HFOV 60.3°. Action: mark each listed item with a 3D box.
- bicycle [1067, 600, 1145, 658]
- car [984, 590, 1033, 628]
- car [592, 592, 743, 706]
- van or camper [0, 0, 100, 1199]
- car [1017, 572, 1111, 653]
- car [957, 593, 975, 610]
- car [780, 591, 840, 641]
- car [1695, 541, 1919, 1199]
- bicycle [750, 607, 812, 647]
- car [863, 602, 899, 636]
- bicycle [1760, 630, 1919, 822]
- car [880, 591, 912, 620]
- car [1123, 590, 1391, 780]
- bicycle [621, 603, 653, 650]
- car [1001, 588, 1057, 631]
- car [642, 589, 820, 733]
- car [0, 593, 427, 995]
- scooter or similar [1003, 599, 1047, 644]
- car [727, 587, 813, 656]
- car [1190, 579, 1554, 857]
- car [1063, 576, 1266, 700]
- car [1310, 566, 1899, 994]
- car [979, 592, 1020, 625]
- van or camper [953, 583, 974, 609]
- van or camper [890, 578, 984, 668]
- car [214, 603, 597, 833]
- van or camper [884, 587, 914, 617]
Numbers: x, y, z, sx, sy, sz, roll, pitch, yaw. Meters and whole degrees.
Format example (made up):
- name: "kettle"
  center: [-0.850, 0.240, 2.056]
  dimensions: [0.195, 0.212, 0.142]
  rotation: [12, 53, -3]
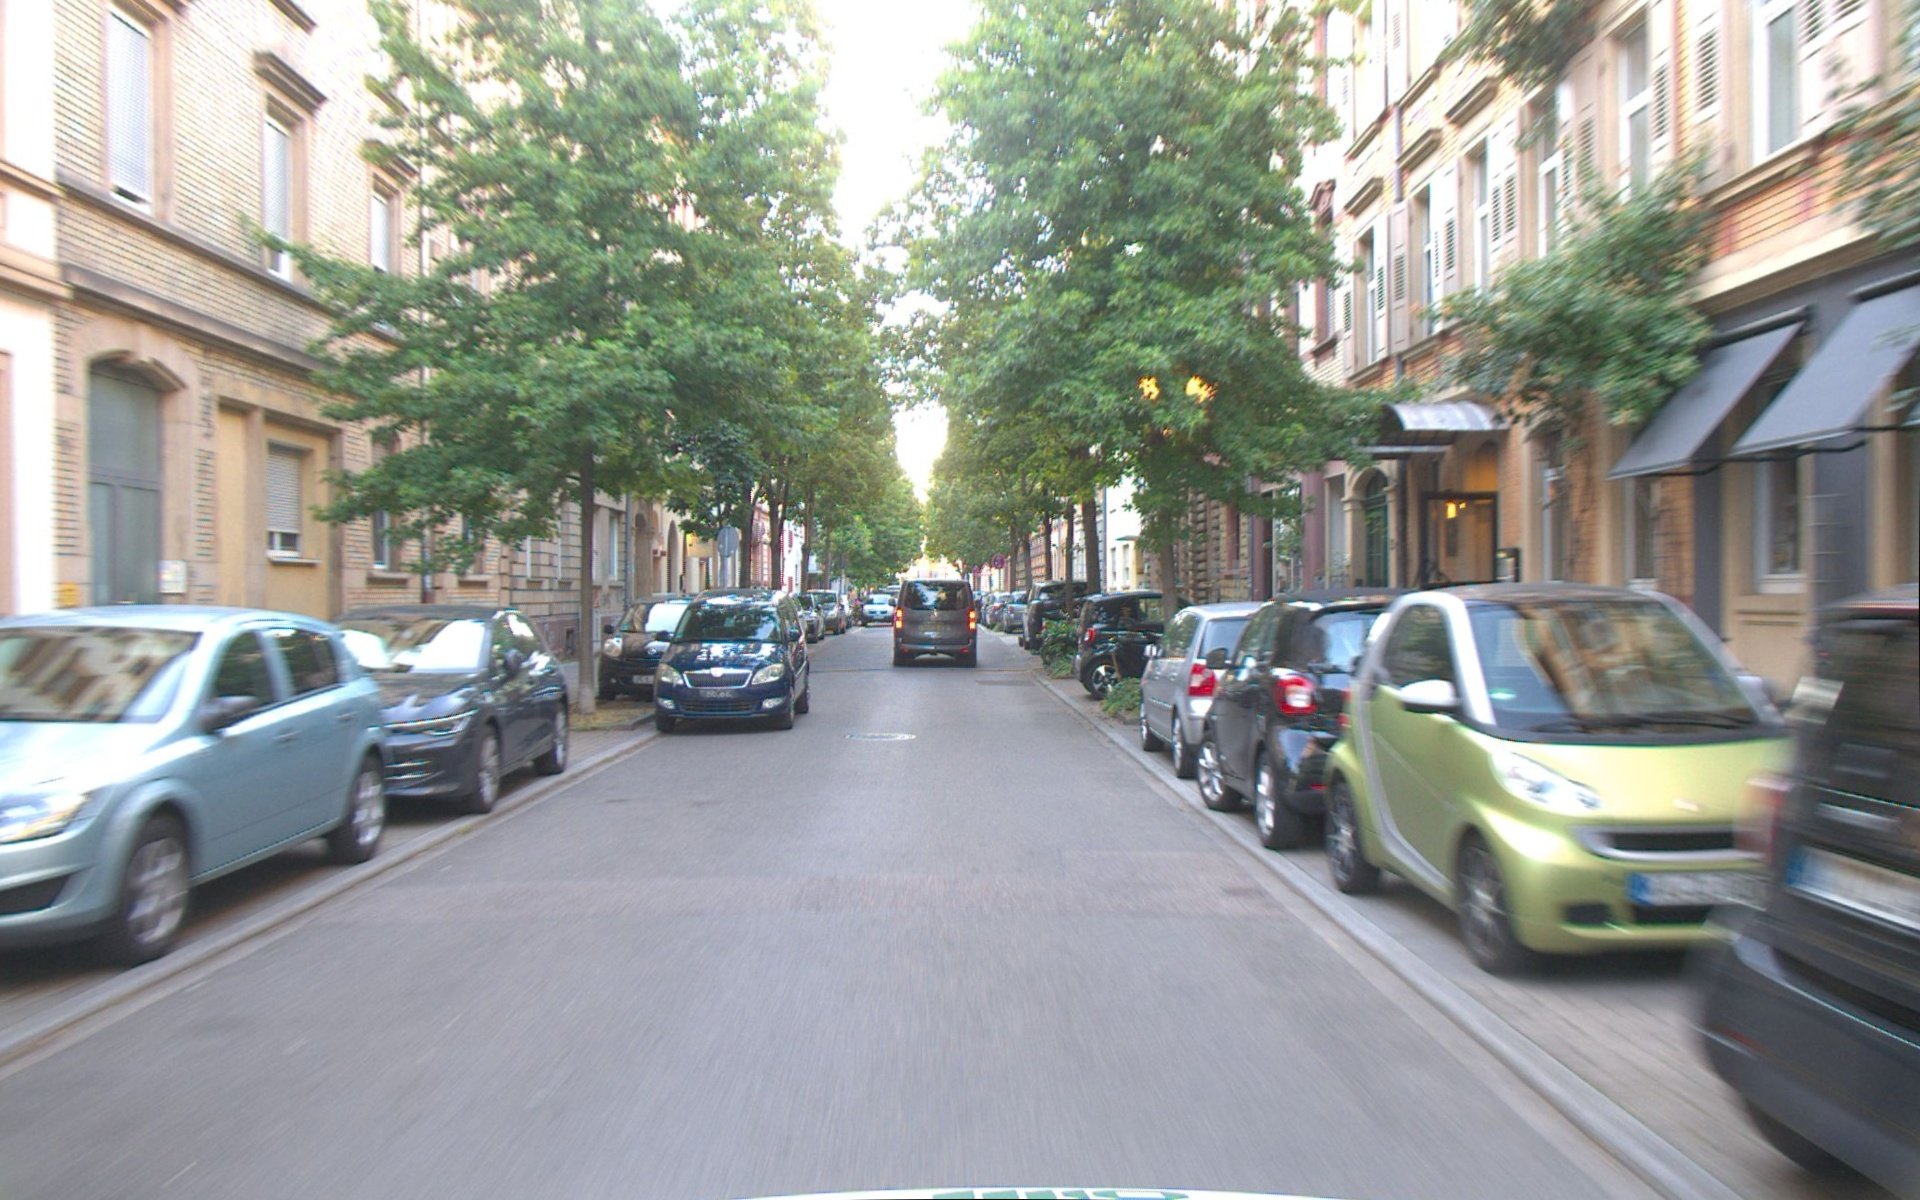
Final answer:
- name: "bicycle"
  center: [3.190, 0.631, 36.114]
  dimensions: [1.661, 1.219, 0.582]
  rotation: [-1, 0, 2]
- name: "car"
  center: [1.991, 0.351, 69.329]
  dimensions: [1.682, 1.502, 4.366]
  rotation: [-2, 0, -3]
- name: "car"
  center: [-4.255, 0.671, 24.533]
  dimensions: [1.657, 1.528, 3.710]
  rotation: [1, 0, -2]
- name: "van or camper"
  center: [-2.607, 0.281, 0.122]
  dimensions: [2.174, 2.473, 5.659]
  rotation: [-1, 0, -1]
- name: "car"
  center: [2.616, 0.287, 42.723]
  dimensions: [1.973, 1.865, 4.810]
  rotation: [-3, 0, -1]
- name: "car"
  center: [0.570, 0.123, 147.817]
  dimensions: [1.518, 1.523, 3.611]
  rotation: [0, 0, 2]
- name: "car"
  center: [-5.132, 0.530, 56.990]
  dimensions: [1.671, 1.608, 4.078]
  rotation: [1, 1, 0]
- name: "car"
  center: [3.281, 0.623, 3.573]
  dimensions: [2.659, 1.600, 1.526]
  rotation: [-2, 0, -1]
- name: "bicycle"
  center: [-4.989, 0.751, 46.178]
  dimensions: [1.649, 1.021, 0.430]
  rotation: [2, 0, 0]
- name: "car"
  center: [-3.615, 0.856, 75.983]
  dimensions: [1.548, 1.445, 3.752]
  rotation: [-1, 0, -1]
- name: "bicycle"
  center: [5.954, 0.756, 10.596]
  dimensions: [0.672, 1.054, 1.950]
  rotation: [-3, 0, 0]
- name: "car"
  center: [-3.639, 0.280, 93.283]
  dimensions: [1.630, 1.590, 3.997]
  rotation: [-1, 0, -4]
- name: "car"
  center: [2.615, 0.679, 15.492]
  dimensions: [1.698, 1.517, 4.103]
  rotation: [-1, 0, -1]
- name: "bicycle"
  center: [-8.121, 0.655, 41.647]
  dimensions: [0.452, 1.108, 1.629]
  rotation: [2, 1, 0]
- name: "car"
  center: [2.476, 0.328, 60.424]
  dimensions: [1.723, 1.488, 4.306]
  rotation: [-1, 0, -2]
- name: "car"
  center: [-2.750, 0.672, 20.701]
  dimensions: [1.688, 1.601, 4.219]
  rotation: [0, 0, -1]
- name: "car"
  center: [-4.147, 0.733, 8.352]
  dimensions: [1.650, 1.536, 4.113]
  rotation: [0, 0, -1]
- name: "scooter or similar"
  center: [1.850, 0.606, 46.937]
  dimensions: [0.663, 1.211, 1.111]
  rotation: [-3, -1, 38]
- name: "car"
  center: [-4.729, 0.493, 41.525]
  dimensions: [1.641, 1.635, 3.862]
  rotation: [1, 0, 1]
- name: "car"
  center: [2.601, 0.672, 11.116]
  dimensions: [1.559, 1.588, 3.121]
  rotation: [0, 0, -2]
- name: "car"
  center: [3.027, 0.552, 24.893]
  dimensions: [2.741, 1.627, 1.800]
  rotation: [-4, 0, -1]
- name: "car"
  center: [2.765, 0.673, 7.731]
  dimensions: [1.435, 1.579, 2.915]
  rotation: [-1, 0, -4]
- name: "car"
  center: [1.784, 0.369, 74.934]
  dimensions: [1.603, 1.449, 3.563]
  rotation: [-2, 0, -2]
- name: "van or camper"
  center: [0.336, -0.427, 171.523]
  dimensions: [1.953, 2.644, 5.422]
  rotation: [0, 0, -2]
- name: "van or camper"
  center: [-0.460, 0.494, 37.625]
  dimensions: [1.993, 1.931, 4.271]
  rotation: [0, 0, 1]
- name: "car"
  center: [-4.144, 0.781, 13.102]
  dimensions: [1.731, 1.488, 4.257]
  rotation: [0, 0, -2]
- name: "van or camper"
  center: [-4.016, 0.123, 108.539]
  dimensions: [1.839, 1.875, 4.750]
  rotation: [-1, 0, -3]
